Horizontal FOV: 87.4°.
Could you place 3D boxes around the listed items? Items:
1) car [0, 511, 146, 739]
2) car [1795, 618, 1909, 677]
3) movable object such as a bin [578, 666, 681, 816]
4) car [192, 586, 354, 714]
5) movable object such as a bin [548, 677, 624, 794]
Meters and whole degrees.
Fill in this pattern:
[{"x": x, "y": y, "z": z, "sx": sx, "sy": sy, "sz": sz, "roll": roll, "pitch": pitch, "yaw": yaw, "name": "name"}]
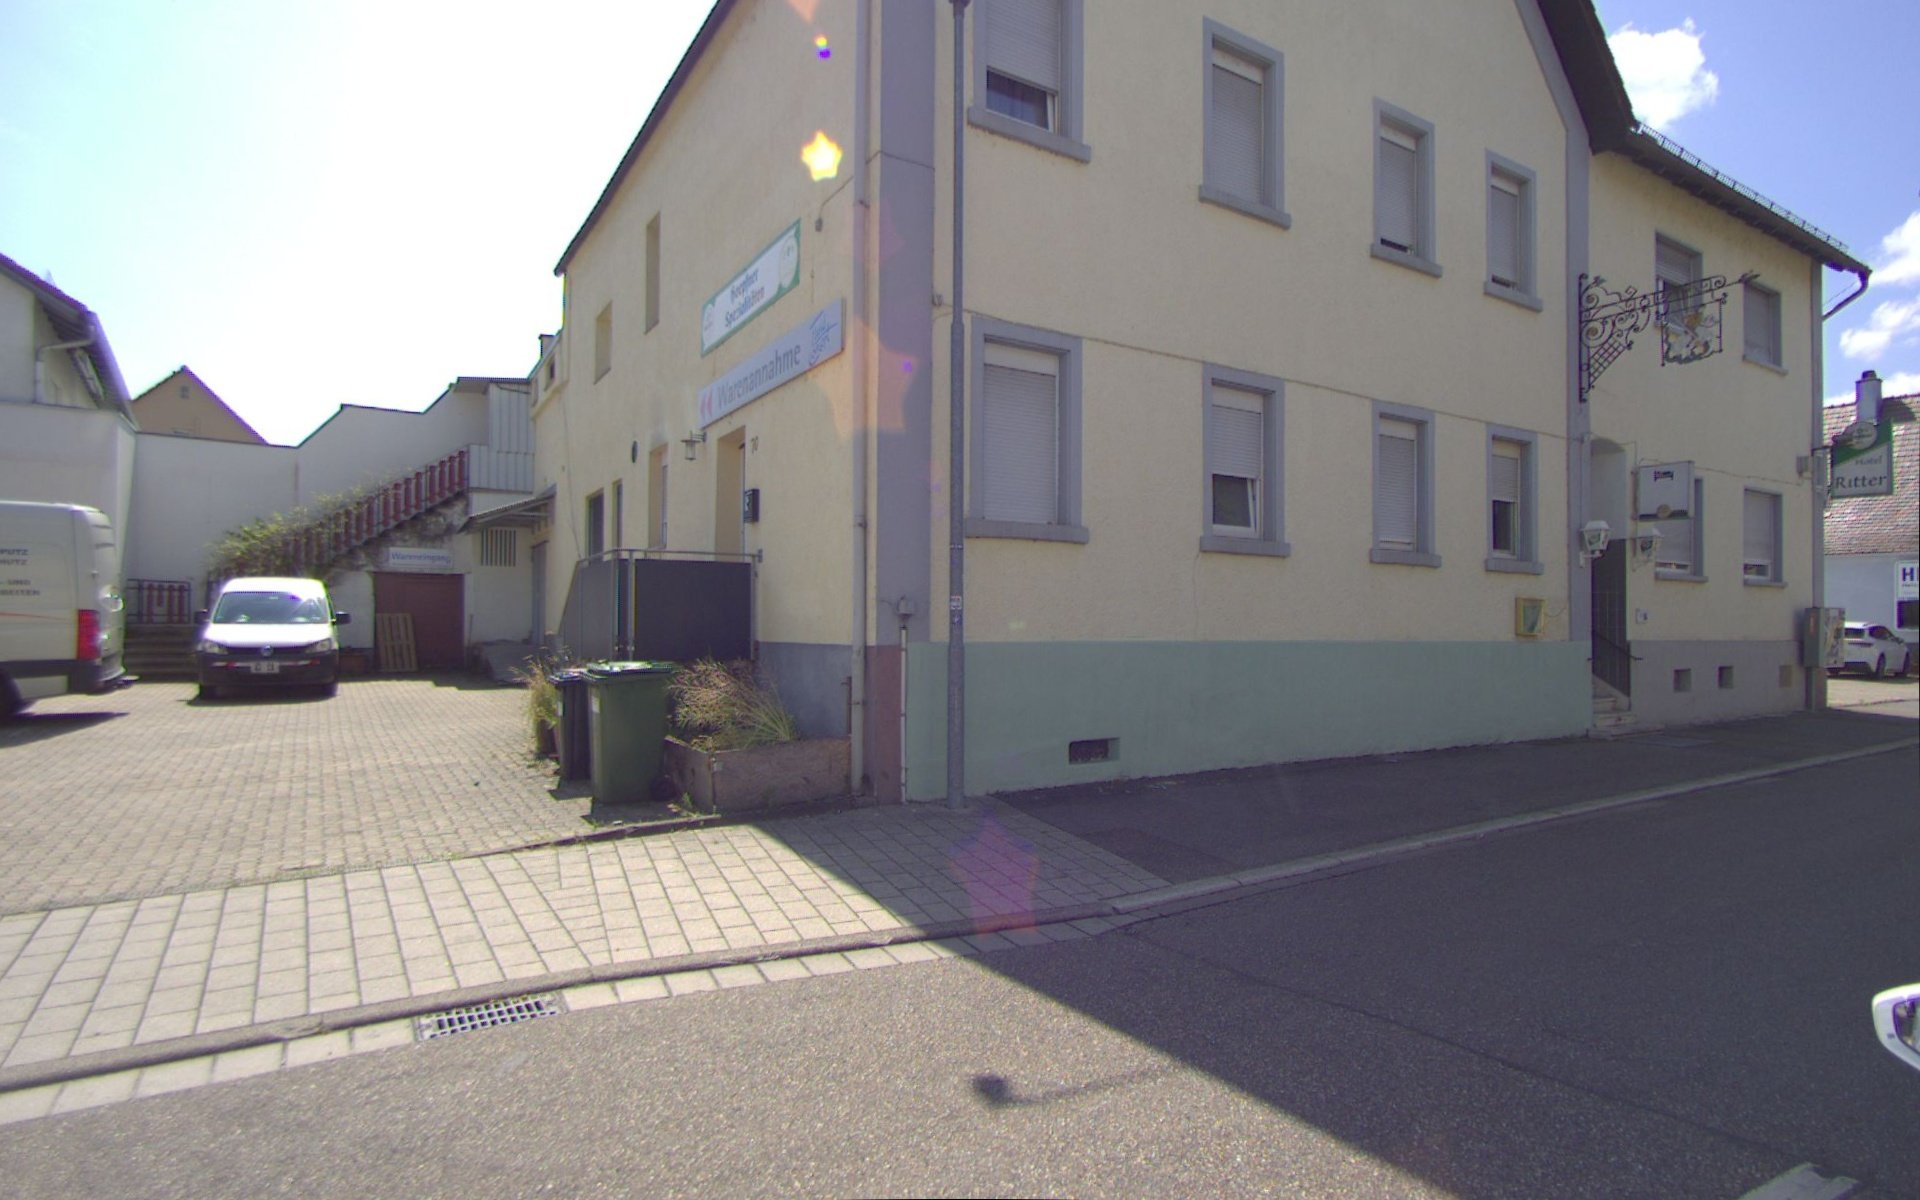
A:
[{"x": -12.891, "y": 0.255, "z": 11.309, "sx": 5.588, "sy": 2.601, "sz": 1.925, "roll": 1, "pitch": 0, "yaw": -34, "name": "car"}, {"x": 26.488, "y": 1.368, "z": 29.791, "sx": 4.159, "sy": 1.577, "sz": 1.707, "roll": 1, "pitch": 0, "yaw": -36, "name": "car"}, {"x": -2.621, "y": 1.084, "z": 7.948, "sx": 0.651, "sy": 1.093, "sz": 0.596, "roll": 1, "pitch": -2, "yaw": -32, "name": "movable object such as a bin"}, {"x": -11.067, "y": 0.702, "z": 16.377, "sx": 1.885, "sy": 1.782, "sz": 4.540, "roll": 2, "pitch": 0, "yaw": -33, "name": "car"}, {"x": -3.261, "y": 1.162, "z": 8.749, "sx": 0.541, "sy": 0.940, "sz": 0.476, "roll": 1, "pitch": -2, "yaw": -32, "name": "movable object such as a bin"}]
